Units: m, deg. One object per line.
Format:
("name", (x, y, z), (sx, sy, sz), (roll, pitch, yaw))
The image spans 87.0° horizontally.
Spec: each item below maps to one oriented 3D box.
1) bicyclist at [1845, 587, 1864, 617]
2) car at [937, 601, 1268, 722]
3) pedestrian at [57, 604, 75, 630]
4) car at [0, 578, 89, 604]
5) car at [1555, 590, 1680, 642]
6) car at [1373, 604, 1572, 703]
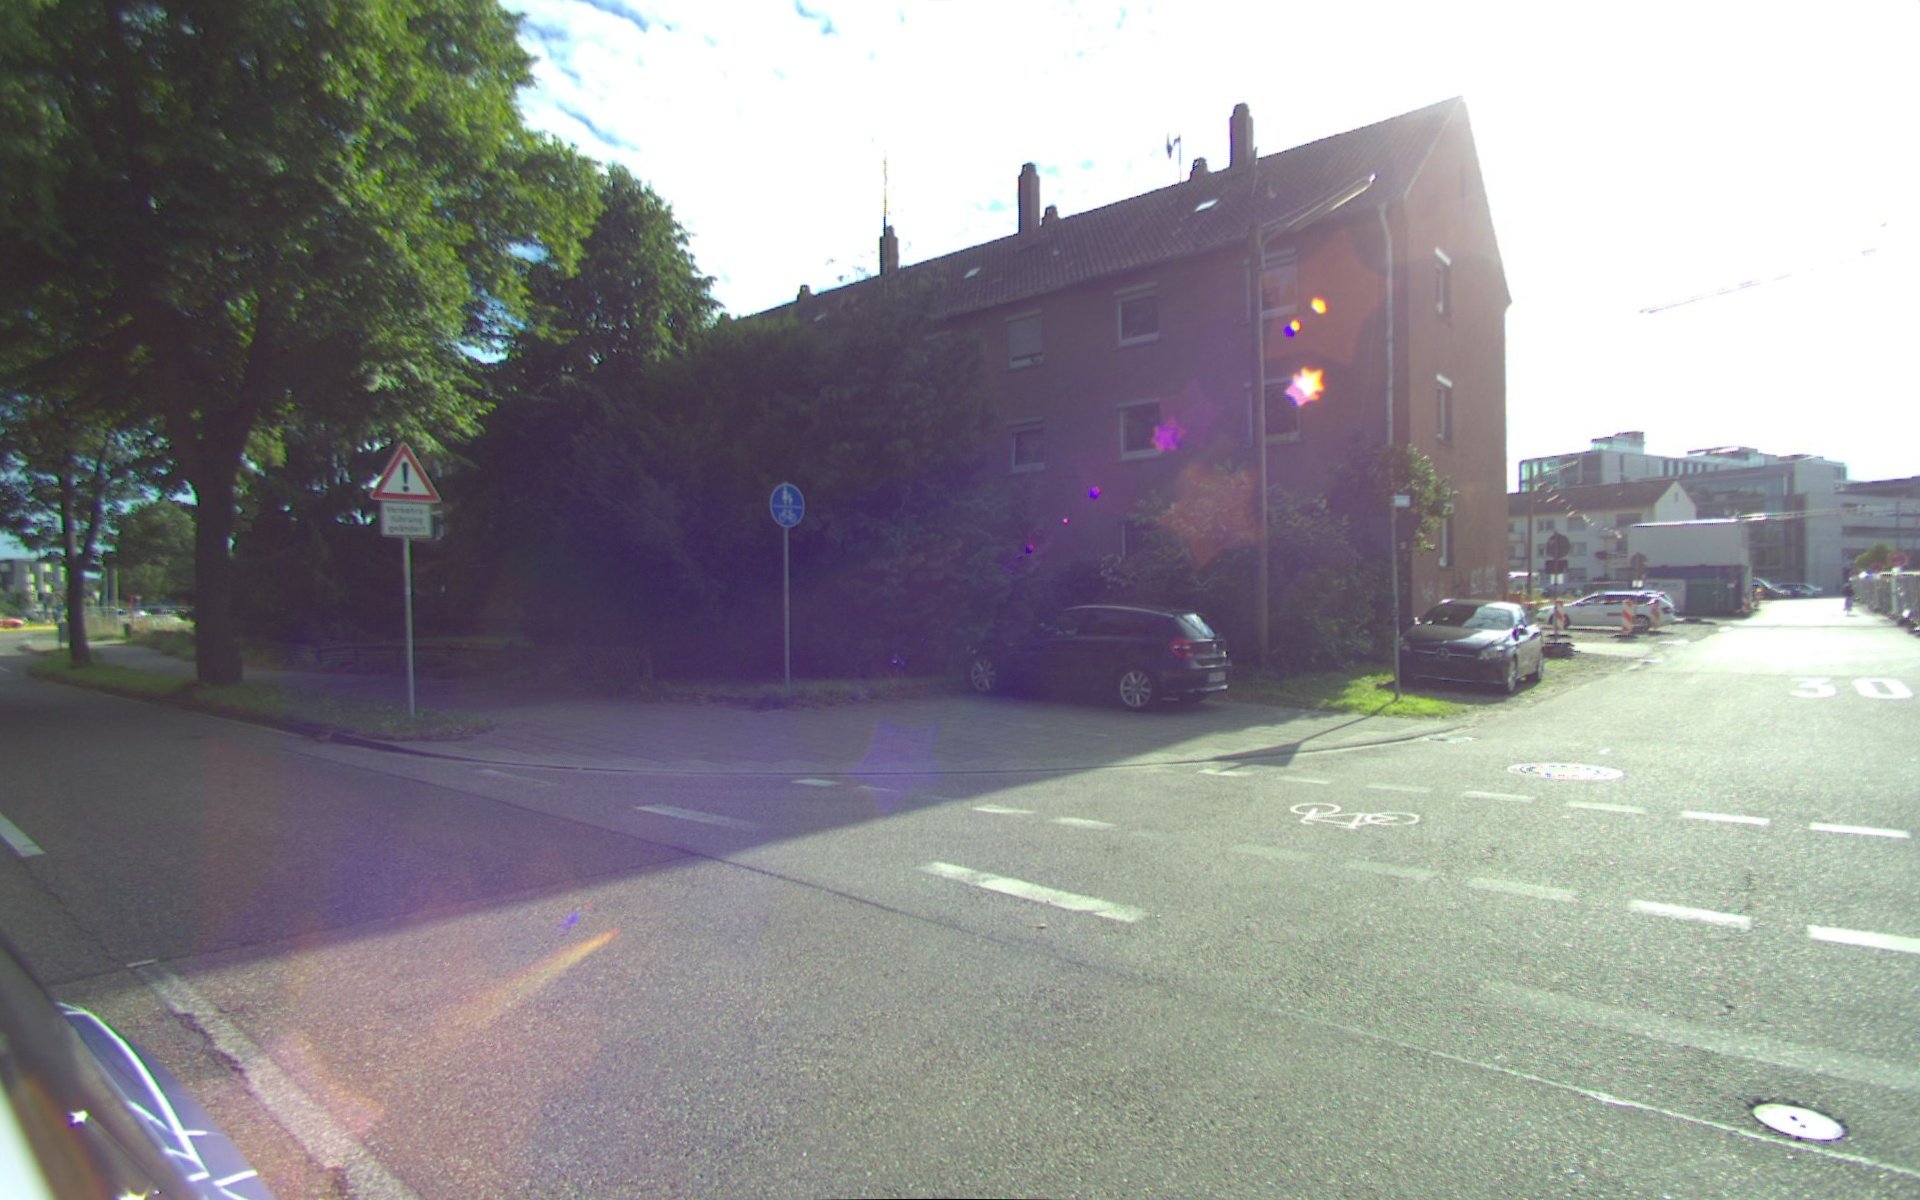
("bicyclist", (50.993, 0.110, 57.683), (0.738, 1.673, 1.115), (-1, -1, 40))
("car", (1.956, 0.765, 14.818), (4.507, 1.439, 1.972), (1, 1, 43))
("pedestrian", (-65.668, 1.228, 74.330), (0.739, 1.837, 0.705), (-1, 1, 20))
("car", (-72.849, -0.680, 79.707), (6.160, 1.880, 2.480), (-1, 1, -3))
("car", (25.641, 0.570, 39.542), (3.976, 1.820, 1.797), (1, 3, 35))
("car", (8.876, 0.814, 17.388), (2.001, 1.314, 3.944), (5, 4, 43))
